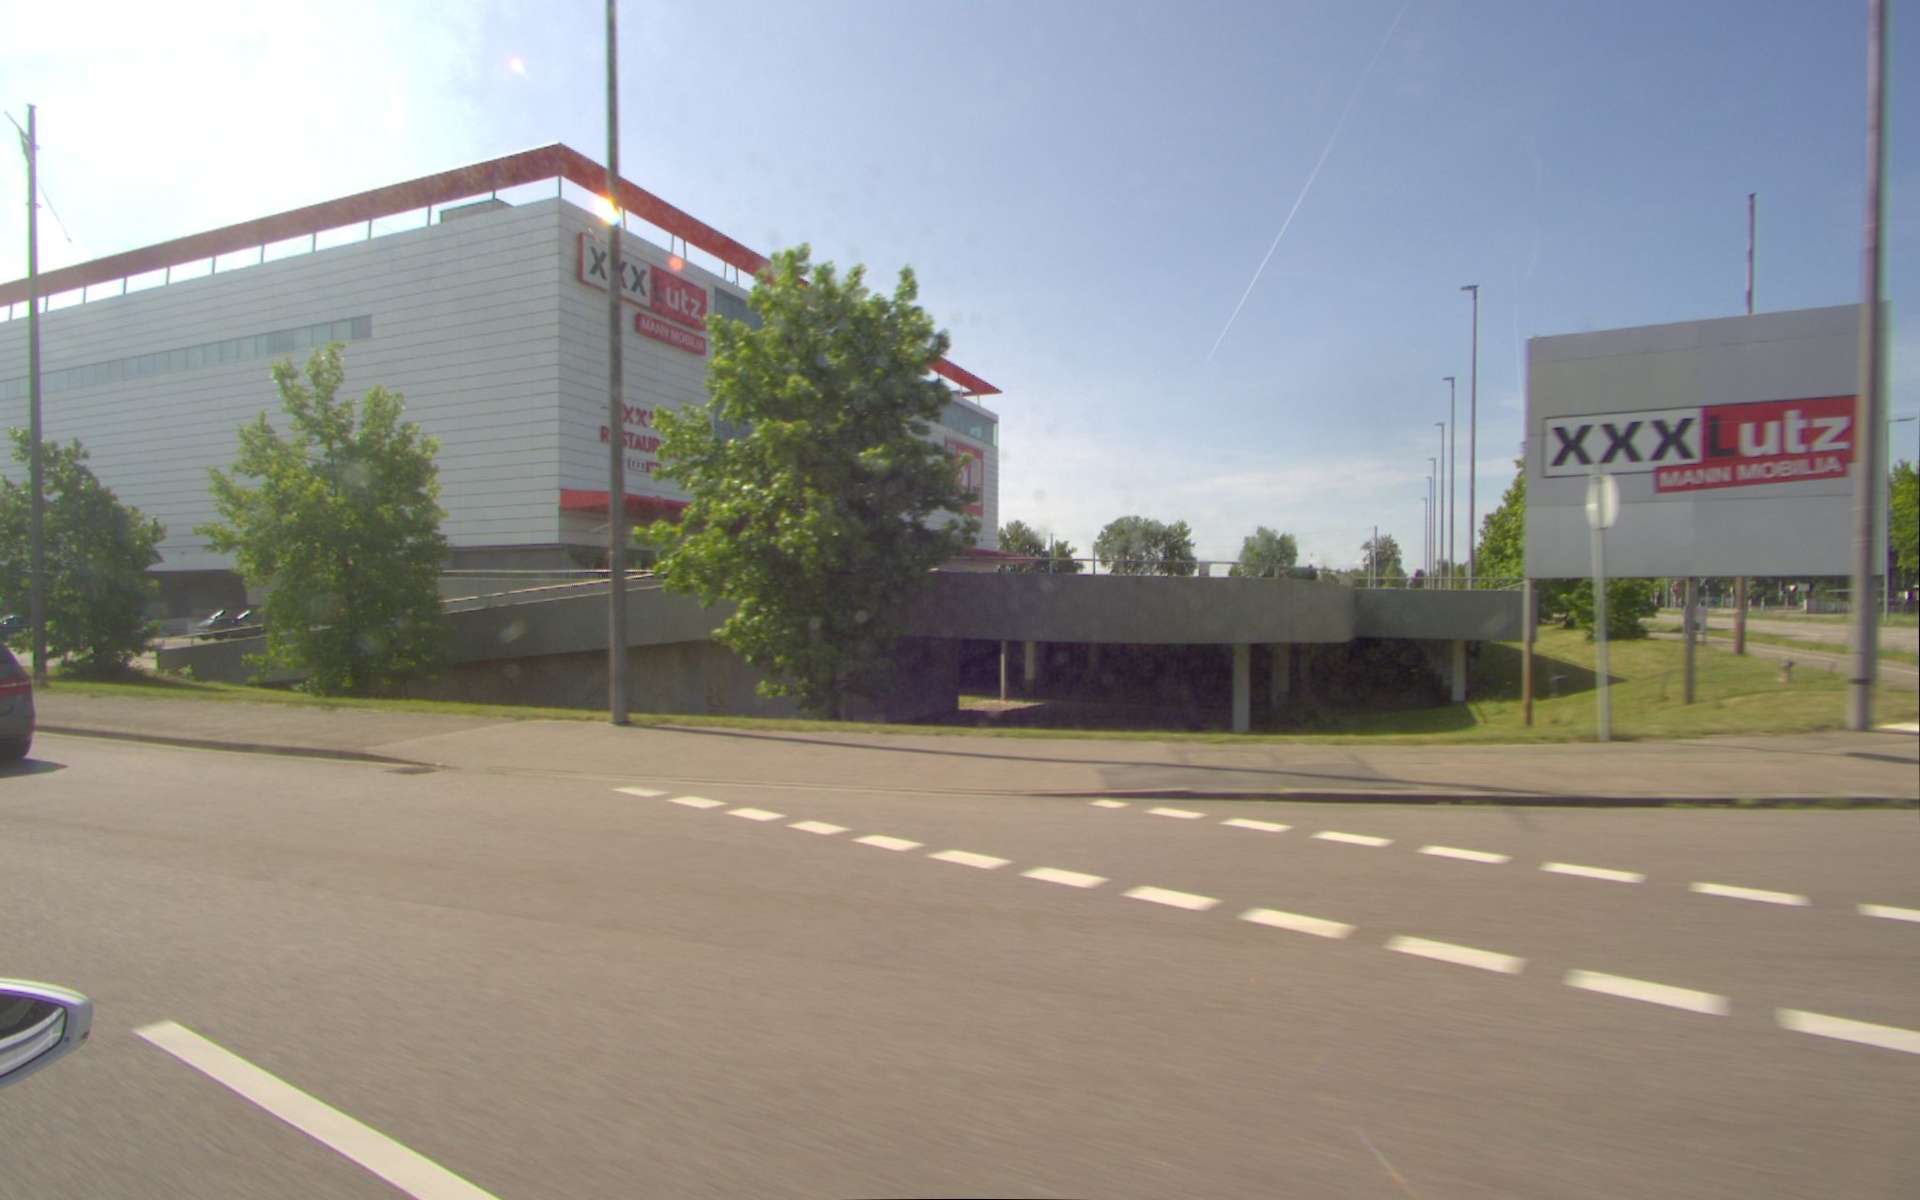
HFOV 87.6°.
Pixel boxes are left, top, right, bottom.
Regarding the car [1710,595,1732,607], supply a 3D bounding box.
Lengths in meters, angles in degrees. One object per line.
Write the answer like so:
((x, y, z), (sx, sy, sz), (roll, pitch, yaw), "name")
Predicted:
((105.488, 0.133, 138.842), (1.614, 1.555, 3.904), (0, -1, 25), "car")

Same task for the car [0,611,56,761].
((-11.934, 0.875, 10.991), (4.074, 1.559, 1.772), (0, -1, 29), "car")

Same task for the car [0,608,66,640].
((-52.679, 1.346, 55.403), (1.806, 1.636, 4.424), (1, 1, 22), "car")

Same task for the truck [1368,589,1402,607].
((78.679, -0.369, 185.470), (5.875, 3.065, 1.997), (-1, -3, 22), "truck")

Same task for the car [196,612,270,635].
((-46.554, 1.525, 64.189), (1.576, 1.394, 3.520), (1, -2, 22), "car")
